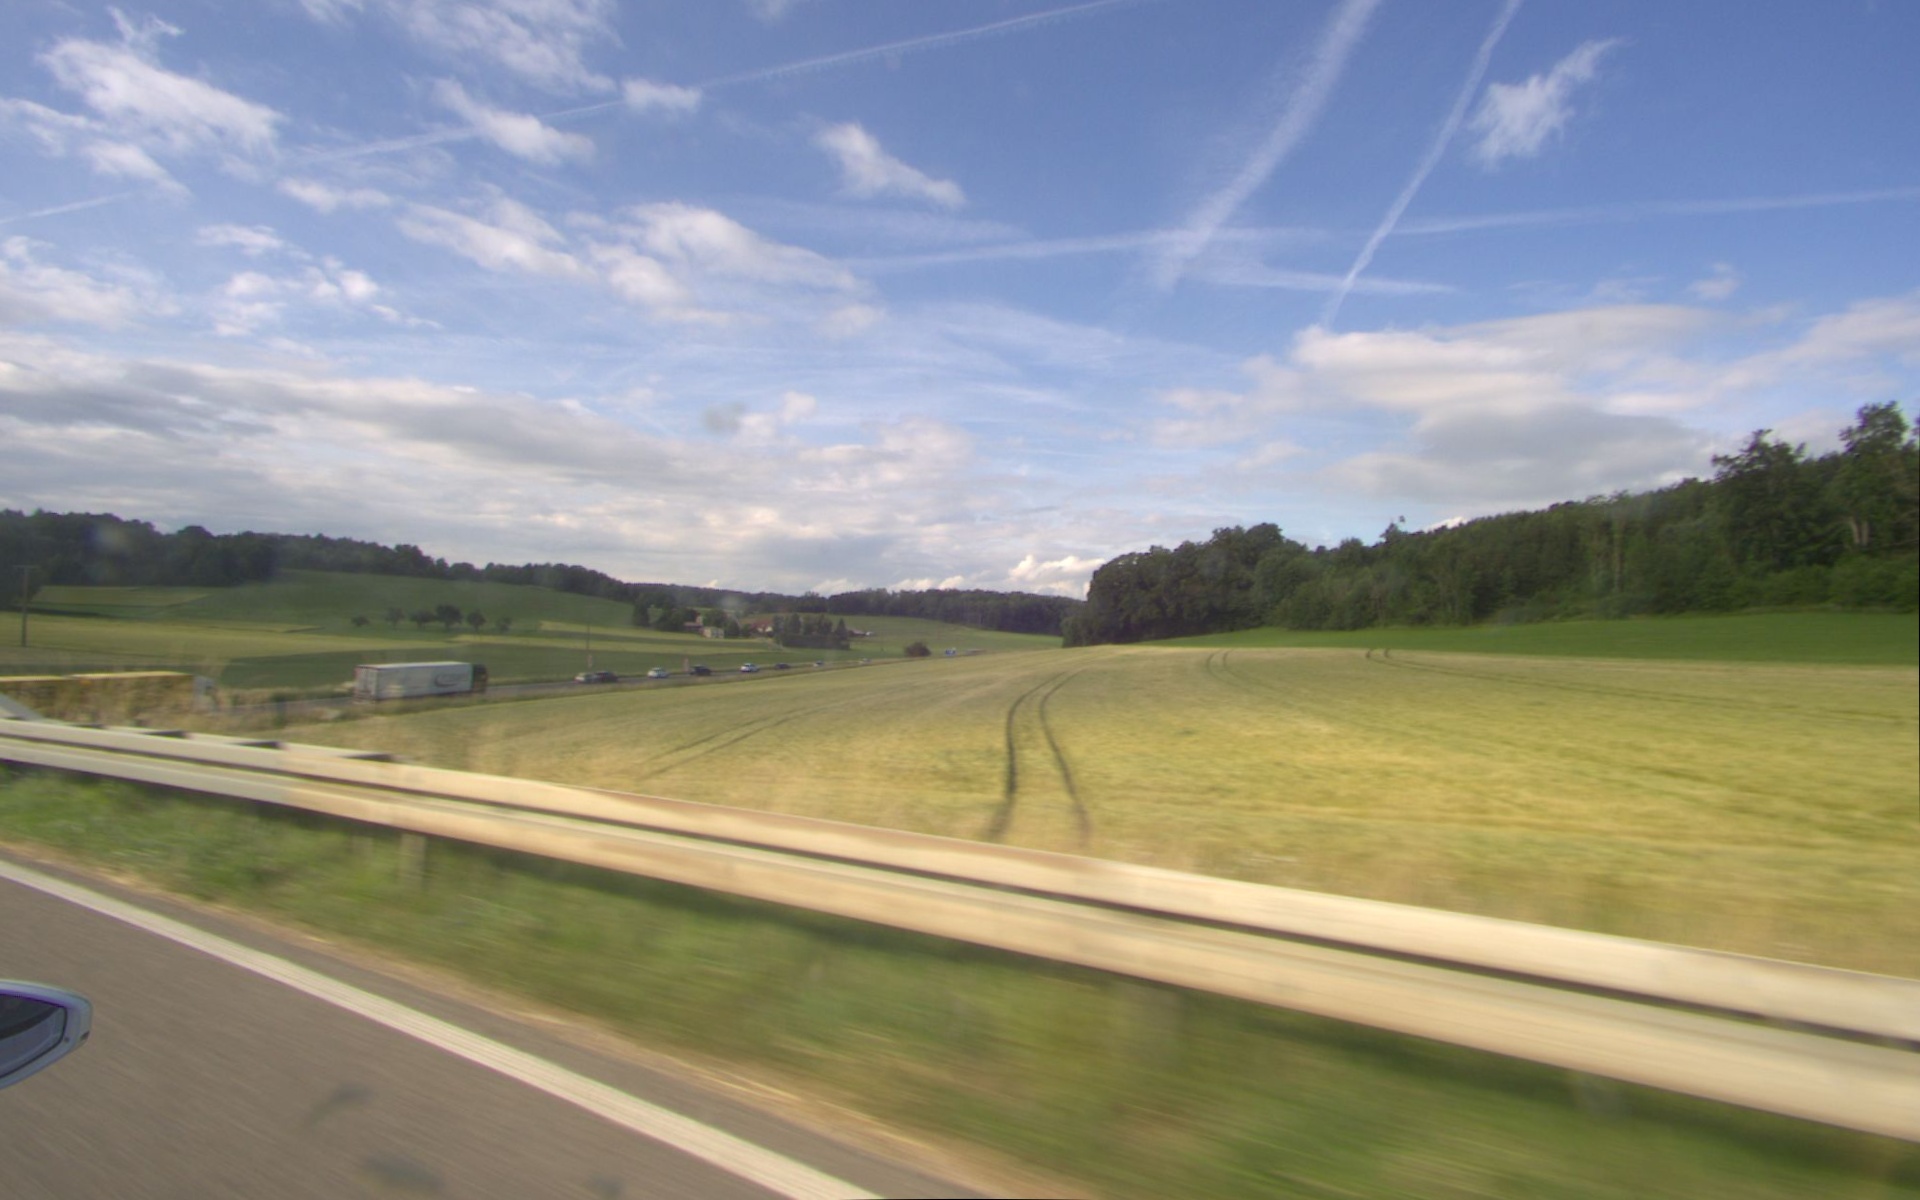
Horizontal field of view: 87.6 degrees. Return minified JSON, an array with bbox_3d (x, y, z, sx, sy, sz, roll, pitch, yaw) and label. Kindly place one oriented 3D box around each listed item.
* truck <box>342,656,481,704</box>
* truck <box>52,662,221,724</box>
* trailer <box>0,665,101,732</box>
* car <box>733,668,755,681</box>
[{"bbox_3d":[-55.567,8.033,102.286,4.003,4.047,14.419,-2,-2,12],"label":"truck"},{"bbox_3d":[-61.487,6.837,75.267,3.764,4.111,9.805,0,-2,8],"label":"truck"},{"bbox_3d":[-62.793,6.453,65.991,3.764,4.111,9.131,0,-2,8],"label":"trailer"},{"bbox_3d":[-36.044,12.391,167.039,1.963,2.039,3.998,-2,-2,13],"label":"car"}]
